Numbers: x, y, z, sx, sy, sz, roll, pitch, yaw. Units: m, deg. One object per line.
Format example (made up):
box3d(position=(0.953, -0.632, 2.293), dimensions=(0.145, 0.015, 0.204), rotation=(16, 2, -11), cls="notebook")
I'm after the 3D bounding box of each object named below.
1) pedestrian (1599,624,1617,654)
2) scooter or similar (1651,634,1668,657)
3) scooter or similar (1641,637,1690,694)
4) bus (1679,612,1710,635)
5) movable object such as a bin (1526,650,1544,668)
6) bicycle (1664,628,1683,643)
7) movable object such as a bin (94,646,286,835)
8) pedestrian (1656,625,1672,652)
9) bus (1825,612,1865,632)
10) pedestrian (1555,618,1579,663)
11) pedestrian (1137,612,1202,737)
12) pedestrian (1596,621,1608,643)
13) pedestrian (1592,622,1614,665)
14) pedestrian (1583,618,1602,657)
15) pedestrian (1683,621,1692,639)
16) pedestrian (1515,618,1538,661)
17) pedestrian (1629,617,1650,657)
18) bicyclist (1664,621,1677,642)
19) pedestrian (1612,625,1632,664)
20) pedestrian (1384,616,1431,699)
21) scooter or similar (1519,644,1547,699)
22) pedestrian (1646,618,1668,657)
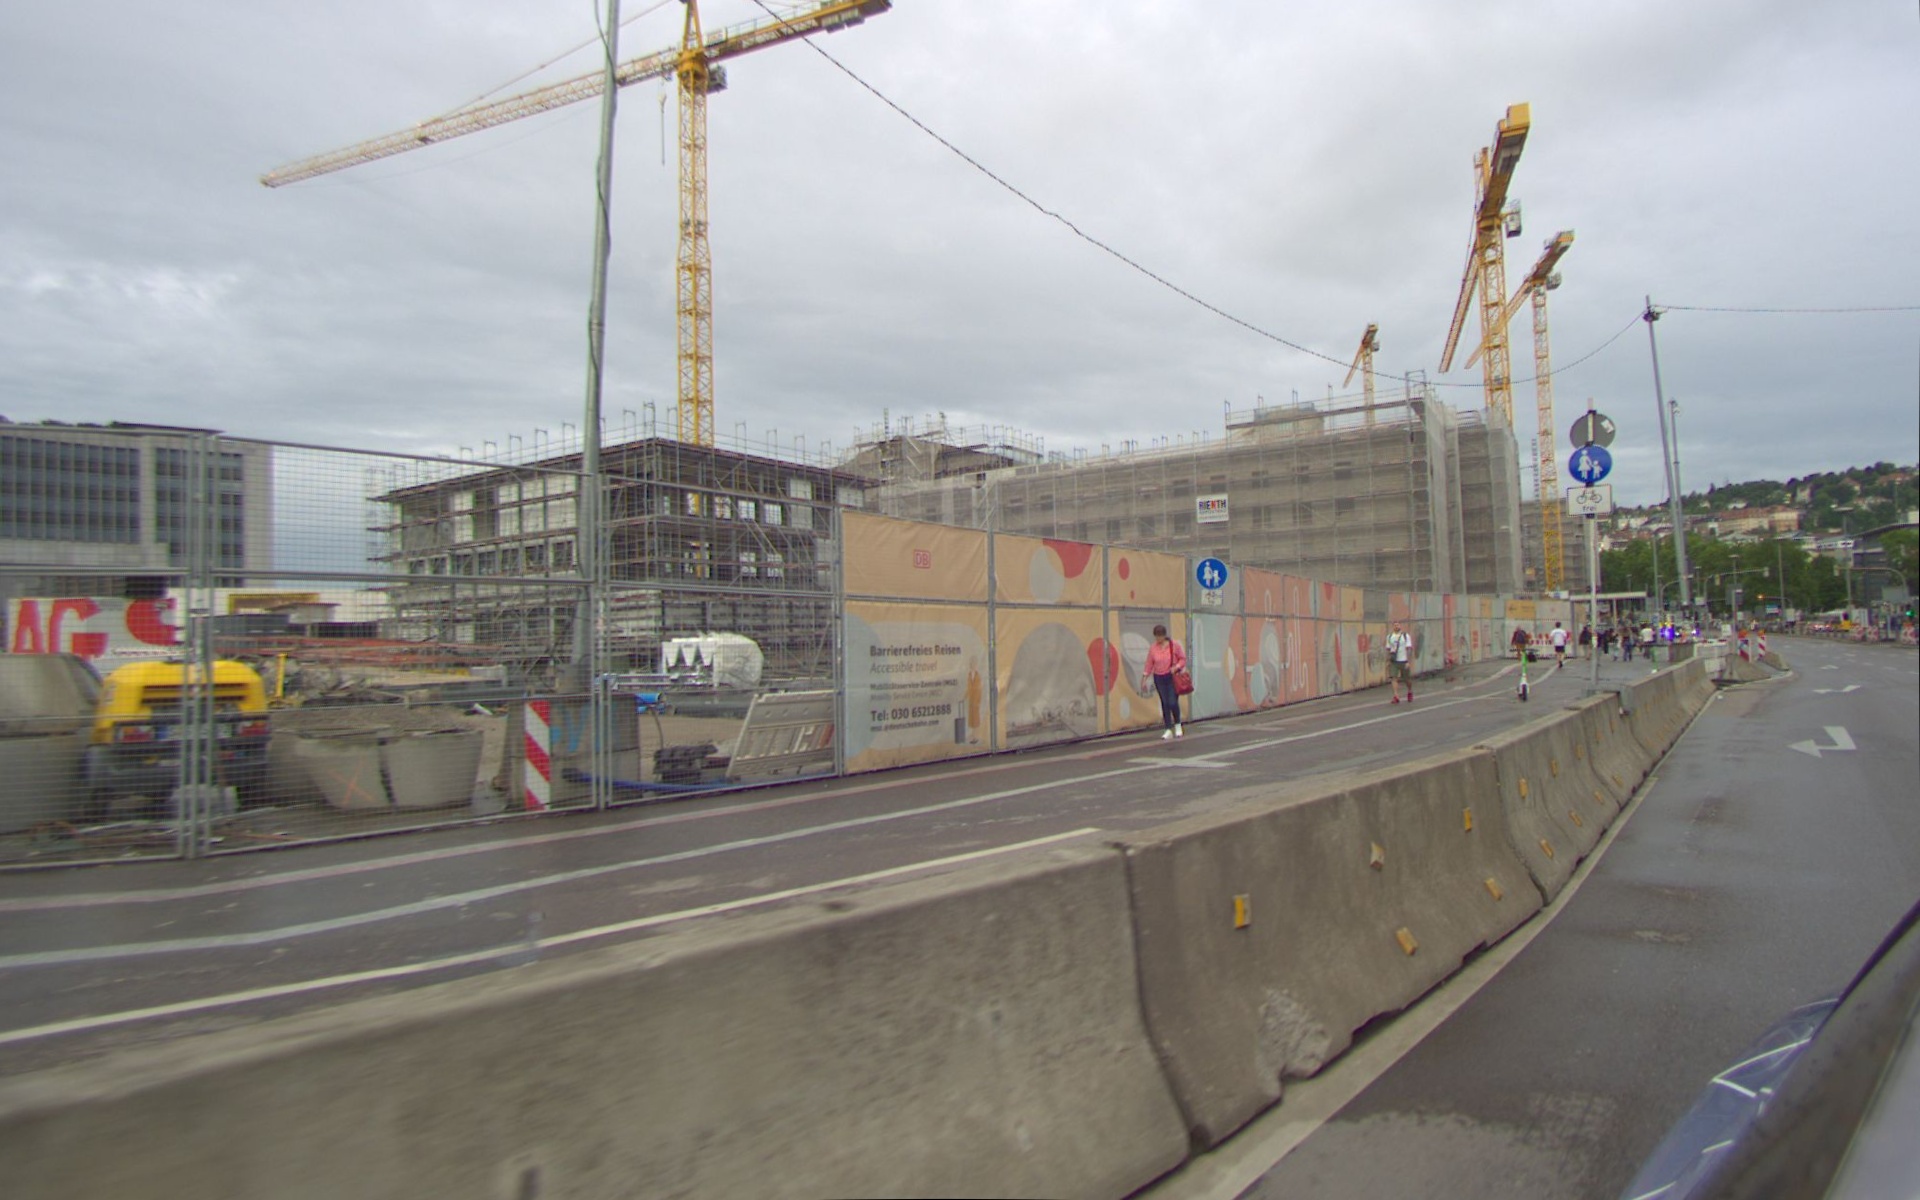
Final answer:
box3d(position=(42.448, 2.567, 66.258), dimensions=(0.847, 1.920, 0.652), rotation=(-4, -4, 39), cls="pedestrian")
box3d(position=(38.128, 2.480, 55.156), dimensions=(0.663, 1.214, 1.029), rotation=(-4, -4, 39), cls="scooter or similar")
box3d(position=(16.097, 1.484, 23.086), dimensions=(0.674, 1.230, 1.547), rotation=(-4, -4, 42), cls="scooter or similar")
box3d(position=(110.171, 3.542, 151.844), dimensions=(2.977, 3.179, 7.676), rotation=(-3, -3, 31), cls="bus")
box3d(position=(26.468, 2.722, 46.588), dimensions=(0.595, 0.743, 0.768), rotation=(-3, 0, 37), cls="movable object such as a bin")
box3d(position=(58.794, 2.906, 83.381), dimensions=(1.955, 1.148, 0.756), rotation=(0, 0, -37), cls="bicycle")
box3d(position=(-7.267, 1.221, 9.527), dimensions=(1.888, 1.489, 1.169), rotation=(-1, -1, 44), cls="movable object such as a bin")
box3d(position=(54.602, 2.965, 78.508), dimensions=(0.786, 2.038, 0.852), rotation=(-4, -3, 43), cls="pedestrian")
box3d(position=(137.475, 3.396, 157.363), dimensions=(2.887, 2.979, 9.713), rotation=(-3, -2, 31), cls="bus")
box3d(position=(23.865, 1.590, 39.791), dimensions=(0.681, 1.763, 0.895), rotation=(-3, -4, 36), cls="pedestrian")
box3d(position=(3.262, 1.144, 15.779), dimensions=(0.717, 1.891, 0.700), rotation=(-3, -4, 36), cls="pedestrian")
box3d(position=(59.462, 2.976, 93.770), dimensions=(0.616, 2.040, 0.578), rotation=(-1, -3, 2), cls="pedestrian")
box3d(position=(26.598, 1.786, 41.833), dimensions=(0.640, 1.763, 0.826), rotation=(-3, -4, 37), cls="pedestrian")
box3d(position=(31.476, 1.855, 50.331), dimensions=(0.681, 1.914, 0.684), rotation=(-3, -4, 36), cls="pedestrian")
box3d(position=(82.895, 3.375, 115.316), dimensions=(0.728, 2.040, 0.639), rotation=(-3, -3, 28), cls="pedestrian")
box3d(position=(25.953, 1.812, 46.348), dimensions=(0.765, 1.920, 0.644), rotation=(-4, -4, 39), cls="pedestrian")
box3d(position=(32.752, 1.774, 48.778), dimensions=(0.682, 1.914, 0.683), rotation=(-4, -4, 39), cls="pedestrian")
box3d(position=(58.292, 2.603, 83.006), dimensions=(0.426, 1.727, 0.696), rotation=(1, -3, -37), cls="bicyclist")
box3d(position=(32.211, 2.167, 49.223), dimensions=(0.682, 1.914, 0.683), rotation=(-4, -4, 39), cls="pedestrian")
box3d(position=(10.469, 1.341, 23.674), dimensions=(0.702, 1.891, 0.976), rotation=(-4, -4, 38), cls="pedestrian")
box3d(position=(13.084, 1.609, 23.136), dimensions=(0.464, 1.199, 1.401), rotation=(-3, -3, 28), cls="scooter or similar")
box3d(position=(37.455, 2.029, 54.359), dimensions=(0.801, 2.043, 0.958), rotation=(-4, -4, 39), cls="pedestrian")
